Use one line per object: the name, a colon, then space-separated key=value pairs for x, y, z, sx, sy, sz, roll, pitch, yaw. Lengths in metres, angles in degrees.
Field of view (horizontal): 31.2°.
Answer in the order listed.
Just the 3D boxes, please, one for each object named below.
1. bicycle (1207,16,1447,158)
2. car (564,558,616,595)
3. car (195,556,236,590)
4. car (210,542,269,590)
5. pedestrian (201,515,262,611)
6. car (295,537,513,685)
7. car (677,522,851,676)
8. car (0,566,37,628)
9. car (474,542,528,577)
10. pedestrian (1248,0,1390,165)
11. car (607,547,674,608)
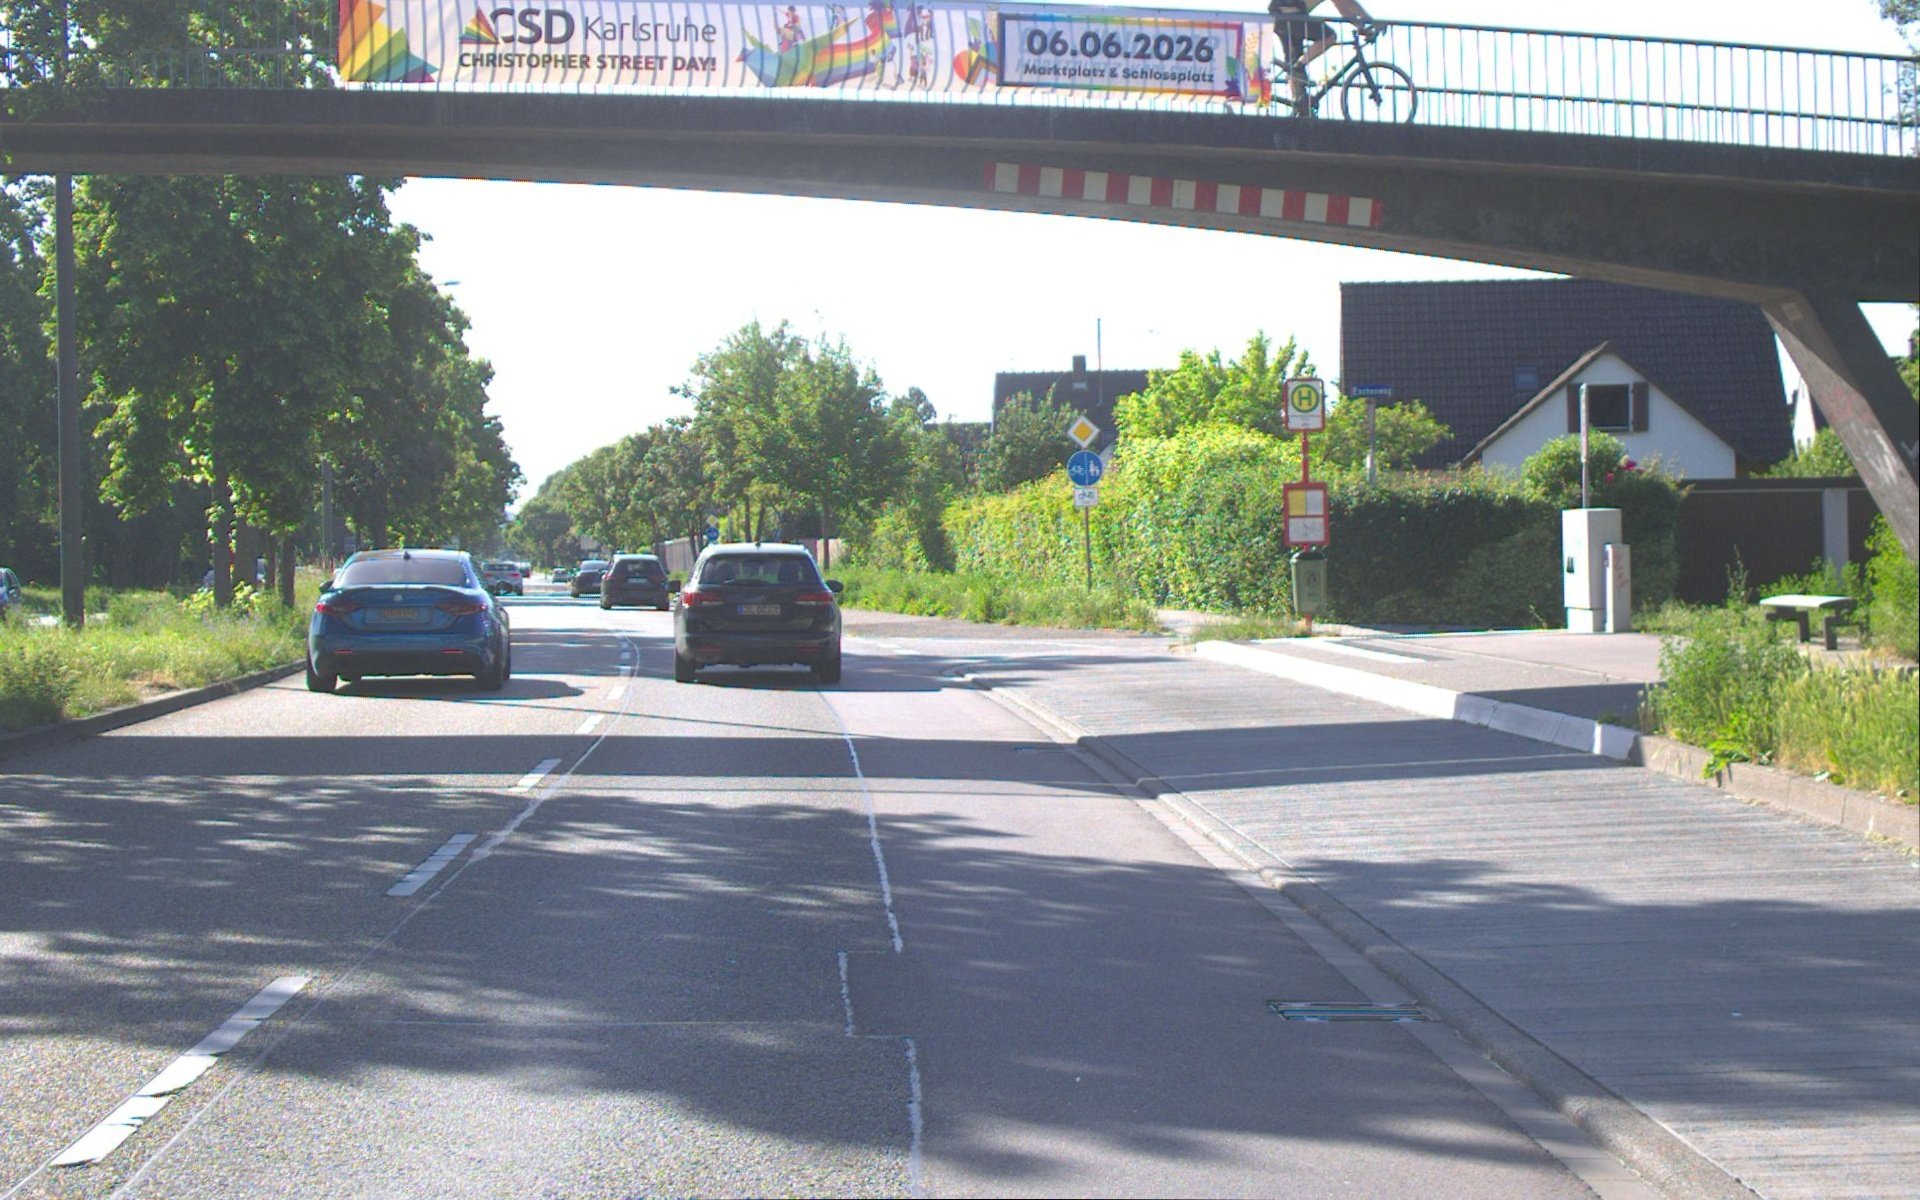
bicycle: x=3.246 y=-4.547 z=30.515 sx=1.988 sy=1.103 sz=0.728 roll=1 pitch=1 yaw=-4
car: x=-14.511 y=-0.925 z=134.656 sx=1.898 sy=1.351 sz=4.001 roll=-1 pitch=2 yaw=-8
car: x=-35.264 y=-1.296 z=162.834 sx=1.805 sy=1.495 sz=4.597 roll=1 pitch=2 yaw=-11
car: x=-25.509 y=-1.209 z=121.808 sx=1.730 sy=1.626 sz=4.199 roll=-1 pitch=1 yaw=-8
pedestrian: x=-12.954 y=-0.655 z=61.128 sx=0.631 sy=1.691 sz=0.942 roll=0 pitch=1 yaw=23
car: x=-5.623 y=0.069 z=35.186 sx=1.994 sy=1.400 sz=4.001 roll=0 pitch=1 yaw=-6
car: x=-2.157 y=-0.017 z=37.319 sx=1.760 sy=1.554 sz=4.001 roll=1 pitch=0 yaw=-4
car: x=-23.600 y=-0.061 z=83.399 sx=1.540 sy=1.426 sz=4.256 roll=-2 pitch=1 yaw=-5
car: x=-19.616 y=-1.742 z=146.858 sx=1.978 sy=1.435 sz=4.001 roll=-1 pitch=2 yaw=-11
pedestrian: x=3.174 y=-4.971 z=30.517 sx=1.065 sy=2.116 sz=0.997 roll=-1 pitch=1 yaw=-5
car: x=-8.764 y=-0.635 z=94.100 sx=1.743 sy=1.592 sz=4.176 roll=0 pitch=1 yaw=-6
